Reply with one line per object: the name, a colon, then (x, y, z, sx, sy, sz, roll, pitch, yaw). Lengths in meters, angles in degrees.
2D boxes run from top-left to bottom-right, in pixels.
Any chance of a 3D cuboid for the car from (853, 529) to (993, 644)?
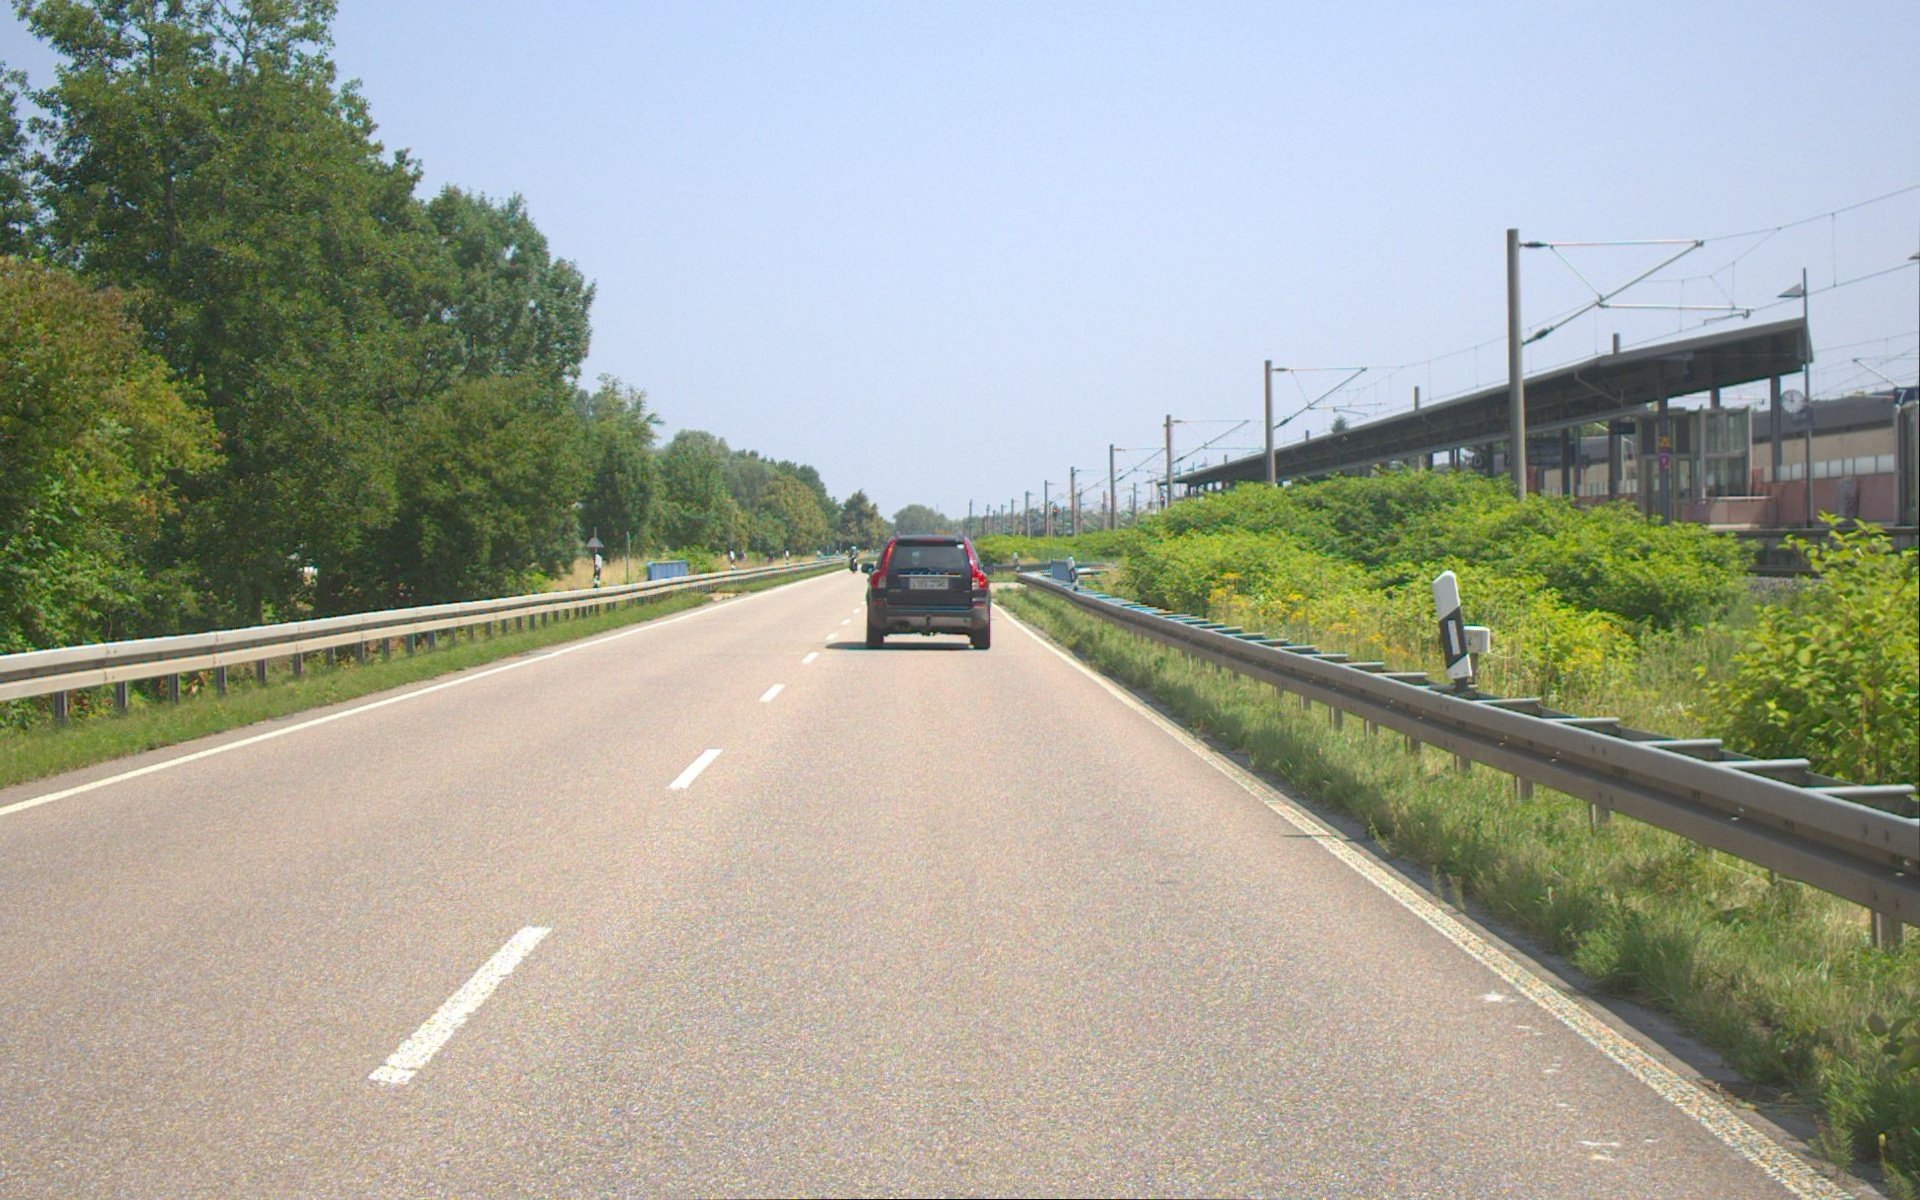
car: (-0.609, -0.234, 52.753, 1.993, 1.694, 4.001, 0, 1, -3)
